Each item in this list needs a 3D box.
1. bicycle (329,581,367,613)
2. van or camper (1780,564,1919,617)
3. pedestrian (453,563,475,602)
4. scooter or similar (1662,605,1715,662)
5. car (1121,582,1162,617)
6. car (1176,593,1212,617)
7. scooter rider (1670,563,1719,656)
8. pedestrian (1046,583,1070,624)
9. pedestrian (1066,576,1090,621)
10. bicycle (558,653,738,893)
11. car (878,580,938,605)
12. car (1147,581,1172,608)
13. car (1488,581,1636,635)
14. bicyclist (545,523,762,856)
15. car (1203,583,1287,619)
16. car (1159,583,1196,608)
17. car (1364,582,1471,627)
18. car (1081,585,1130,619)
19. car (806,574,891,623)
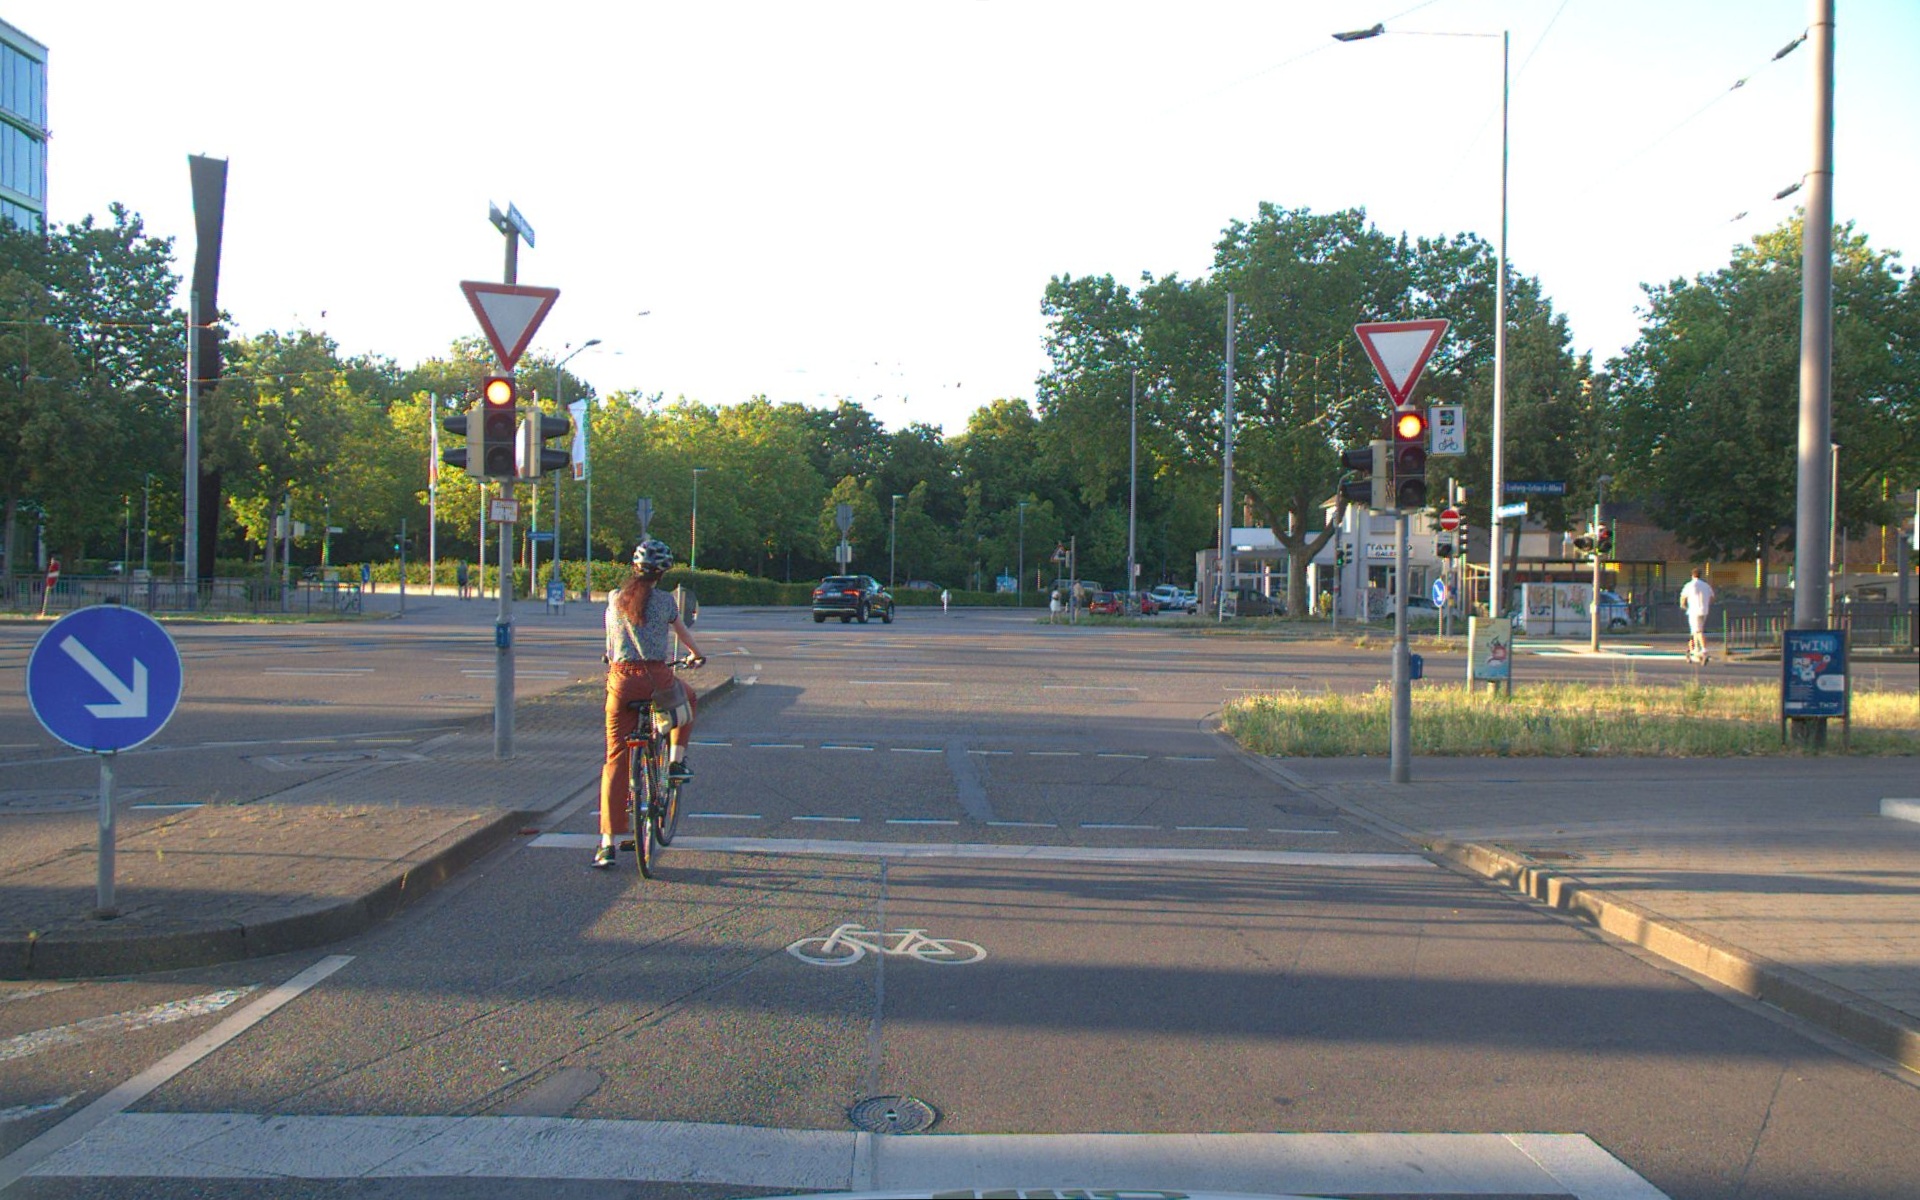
[{"bbox_3d":[-23.098,-0.126,62.446,0.685,1.156,2.391,1,1,-3],"label":"bicycle"},{"bbox_3d":[43.657,-0.477,80.347,6.426,2.452,2.265,1,0,3],"label":"van or camper"},{"bbox_3d":[-22.934,-0.800,76.472,0.884,1.785,0.715,1,0,-26],"label":"pedestrian"},{"bbox_3d":[14.925,0.678,33.895,0.499,1.109,1.243,1,0,-1],"label":"scooter or similar"},{"bbox_3d":[11.383,-0.034,103.488,1.875,2.083,4.002,1,1,17],"label":"car"},{"bbox_3d":[16.372,0.341,115.655,1.875,1.630,4.002,1,1,17],"label":"car"},{"bbox_3d":[15.131,0.191,34.070,0.688,1.887,0.669,1,-1,-1],"label":"scooter rider"},{"bbox_3d":[4.030,0.144,68.159,0.704,1.667,0.897,1,0,23],"label":"pedestrian"},{"bbox_3d":[4.765,-0.076,66.960,0.704,1.785,0.897,1,0,23],"label":"pedestrian"},{"bbox_3d":[-1.681,0.890,9.221,0.621,1.086,2.122,1,1,-1],"label":"bicycle"},{"bbox_3d":[-3.423,-0.529,109.468,3.905,1.588,2.000,1,0,1],"label":"car"},{"bbox_3d":[15.825,-0.447,131.422,1.951,2.049,4.003,1,1,6],"label":"car"},{"bbox_3d":[20.814,0.261,57.238,4.445,1.758,1.860,1,0,-5],"label":"car"},{"bbox_3d":[-1.679,0.470,9.234,1.011,1.748,0.996,1,0,-1],"label":"bicyclist"},{"bbox_3d":[15.324,0.036,89.197,4.285,1.867,1.950,1,1,4],"label":"car"},{"bbox_3d":[17.913,-0.391,136.078,1.953,2.049,3.998,1,1,24],"label":"car"},{"bbox_3d":[20.095,0.177,72.780,4.142,1.878,2.001,1,0,2],"label":"car"},{"bbox_3d":[8.456,0.098,95.829,1.829,1.907,3.875,1,1,20],"label":"car"},{"bbox_3d":[-3.744,-0.024,56.422,1.718,1.568,4.404,1,-1,12],"label":"car"}]
